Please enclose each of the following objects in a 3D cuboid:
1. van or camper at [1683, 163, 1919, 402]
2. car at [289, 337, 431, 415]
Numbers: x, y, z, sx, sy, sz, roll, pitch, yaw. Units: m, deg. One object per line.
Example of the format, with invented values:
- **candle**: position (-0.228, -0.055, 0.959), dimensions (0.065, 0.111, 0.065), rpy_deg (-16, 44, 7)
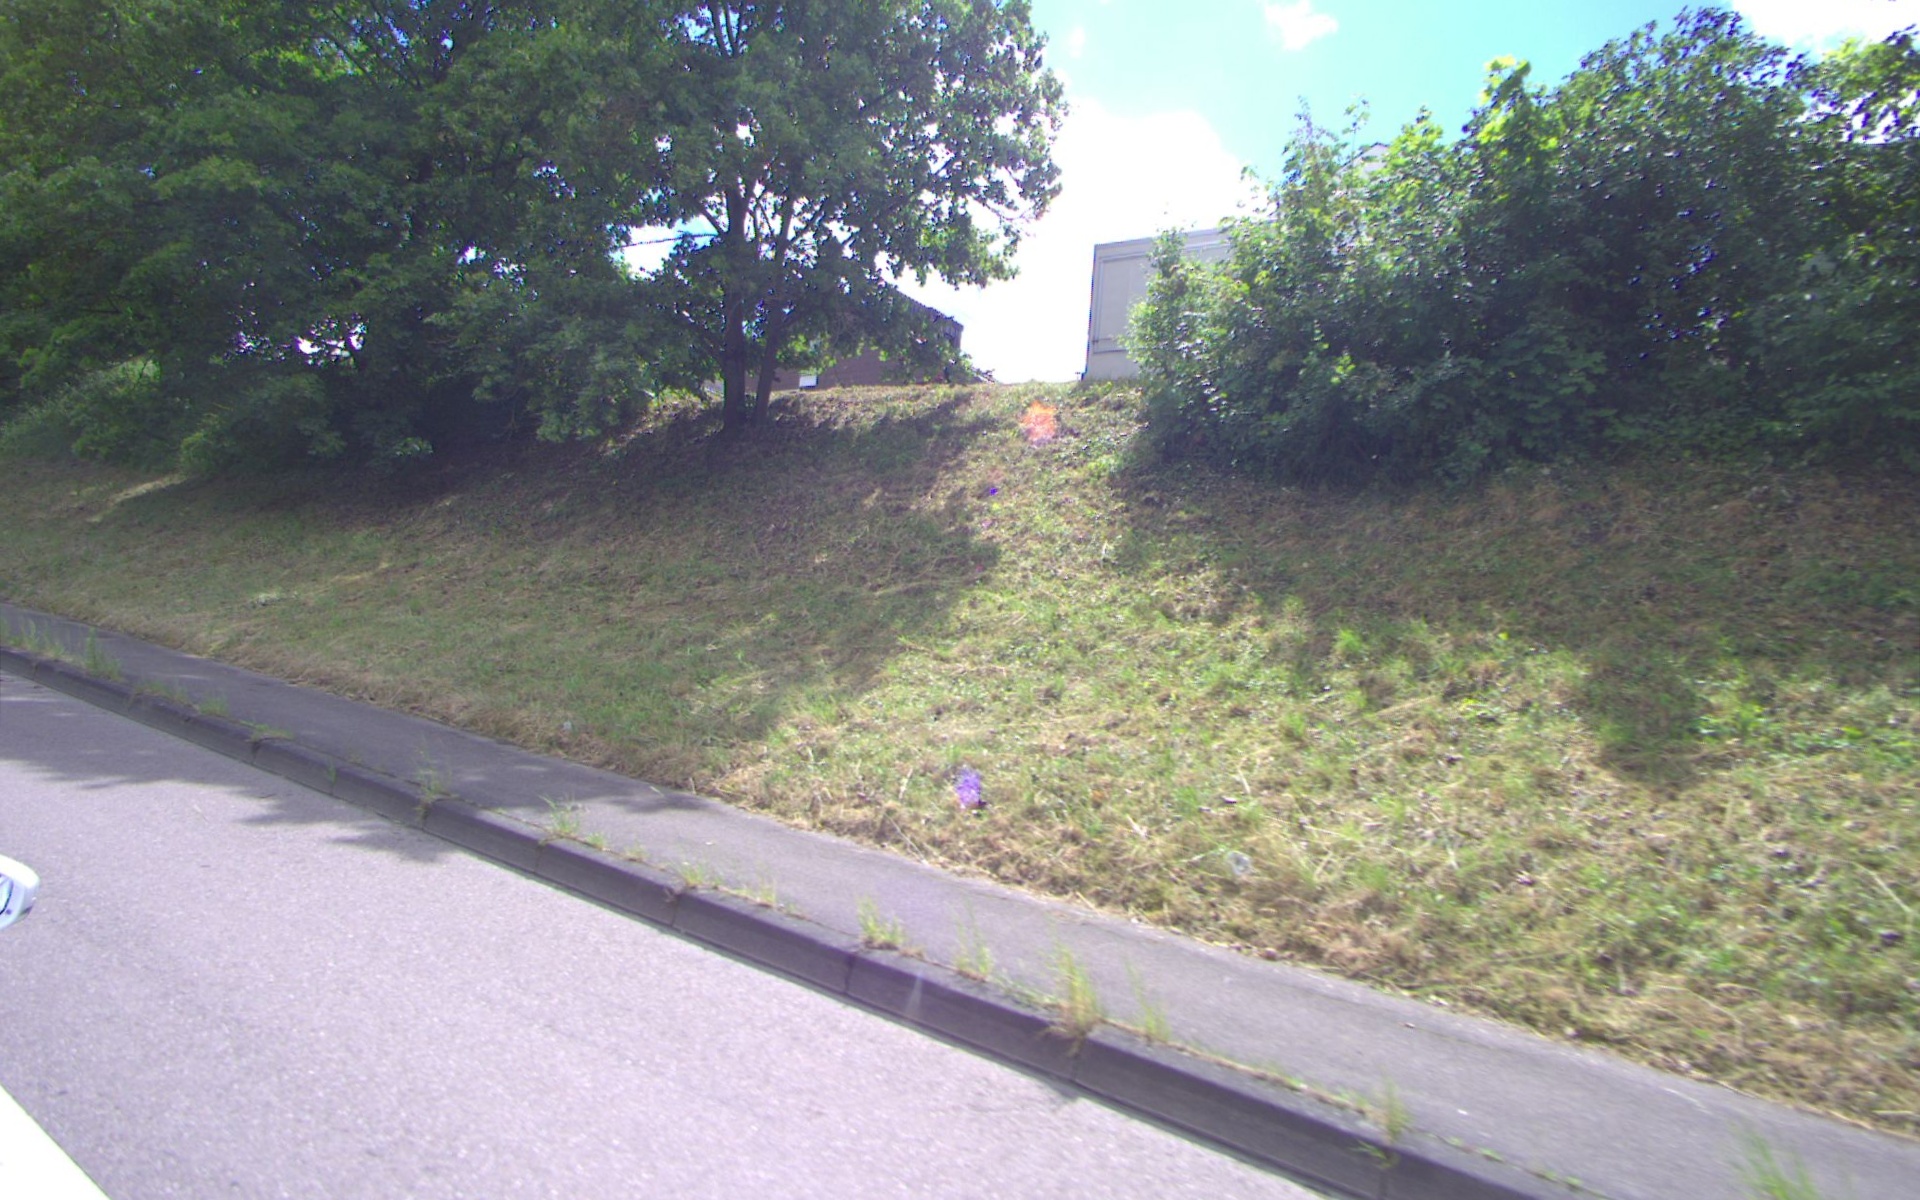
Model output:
- **van or camper**: position (12.249, -3.593, 11.500), dimensions (6.057, 2.094, 2.221), rpy_deg (7, -1, 30)
- **car**: position (-17.164, -6.342, 28.730), dimensions (3.975, 1.707, 1.647), rpy_deg (7, -1, 31)
